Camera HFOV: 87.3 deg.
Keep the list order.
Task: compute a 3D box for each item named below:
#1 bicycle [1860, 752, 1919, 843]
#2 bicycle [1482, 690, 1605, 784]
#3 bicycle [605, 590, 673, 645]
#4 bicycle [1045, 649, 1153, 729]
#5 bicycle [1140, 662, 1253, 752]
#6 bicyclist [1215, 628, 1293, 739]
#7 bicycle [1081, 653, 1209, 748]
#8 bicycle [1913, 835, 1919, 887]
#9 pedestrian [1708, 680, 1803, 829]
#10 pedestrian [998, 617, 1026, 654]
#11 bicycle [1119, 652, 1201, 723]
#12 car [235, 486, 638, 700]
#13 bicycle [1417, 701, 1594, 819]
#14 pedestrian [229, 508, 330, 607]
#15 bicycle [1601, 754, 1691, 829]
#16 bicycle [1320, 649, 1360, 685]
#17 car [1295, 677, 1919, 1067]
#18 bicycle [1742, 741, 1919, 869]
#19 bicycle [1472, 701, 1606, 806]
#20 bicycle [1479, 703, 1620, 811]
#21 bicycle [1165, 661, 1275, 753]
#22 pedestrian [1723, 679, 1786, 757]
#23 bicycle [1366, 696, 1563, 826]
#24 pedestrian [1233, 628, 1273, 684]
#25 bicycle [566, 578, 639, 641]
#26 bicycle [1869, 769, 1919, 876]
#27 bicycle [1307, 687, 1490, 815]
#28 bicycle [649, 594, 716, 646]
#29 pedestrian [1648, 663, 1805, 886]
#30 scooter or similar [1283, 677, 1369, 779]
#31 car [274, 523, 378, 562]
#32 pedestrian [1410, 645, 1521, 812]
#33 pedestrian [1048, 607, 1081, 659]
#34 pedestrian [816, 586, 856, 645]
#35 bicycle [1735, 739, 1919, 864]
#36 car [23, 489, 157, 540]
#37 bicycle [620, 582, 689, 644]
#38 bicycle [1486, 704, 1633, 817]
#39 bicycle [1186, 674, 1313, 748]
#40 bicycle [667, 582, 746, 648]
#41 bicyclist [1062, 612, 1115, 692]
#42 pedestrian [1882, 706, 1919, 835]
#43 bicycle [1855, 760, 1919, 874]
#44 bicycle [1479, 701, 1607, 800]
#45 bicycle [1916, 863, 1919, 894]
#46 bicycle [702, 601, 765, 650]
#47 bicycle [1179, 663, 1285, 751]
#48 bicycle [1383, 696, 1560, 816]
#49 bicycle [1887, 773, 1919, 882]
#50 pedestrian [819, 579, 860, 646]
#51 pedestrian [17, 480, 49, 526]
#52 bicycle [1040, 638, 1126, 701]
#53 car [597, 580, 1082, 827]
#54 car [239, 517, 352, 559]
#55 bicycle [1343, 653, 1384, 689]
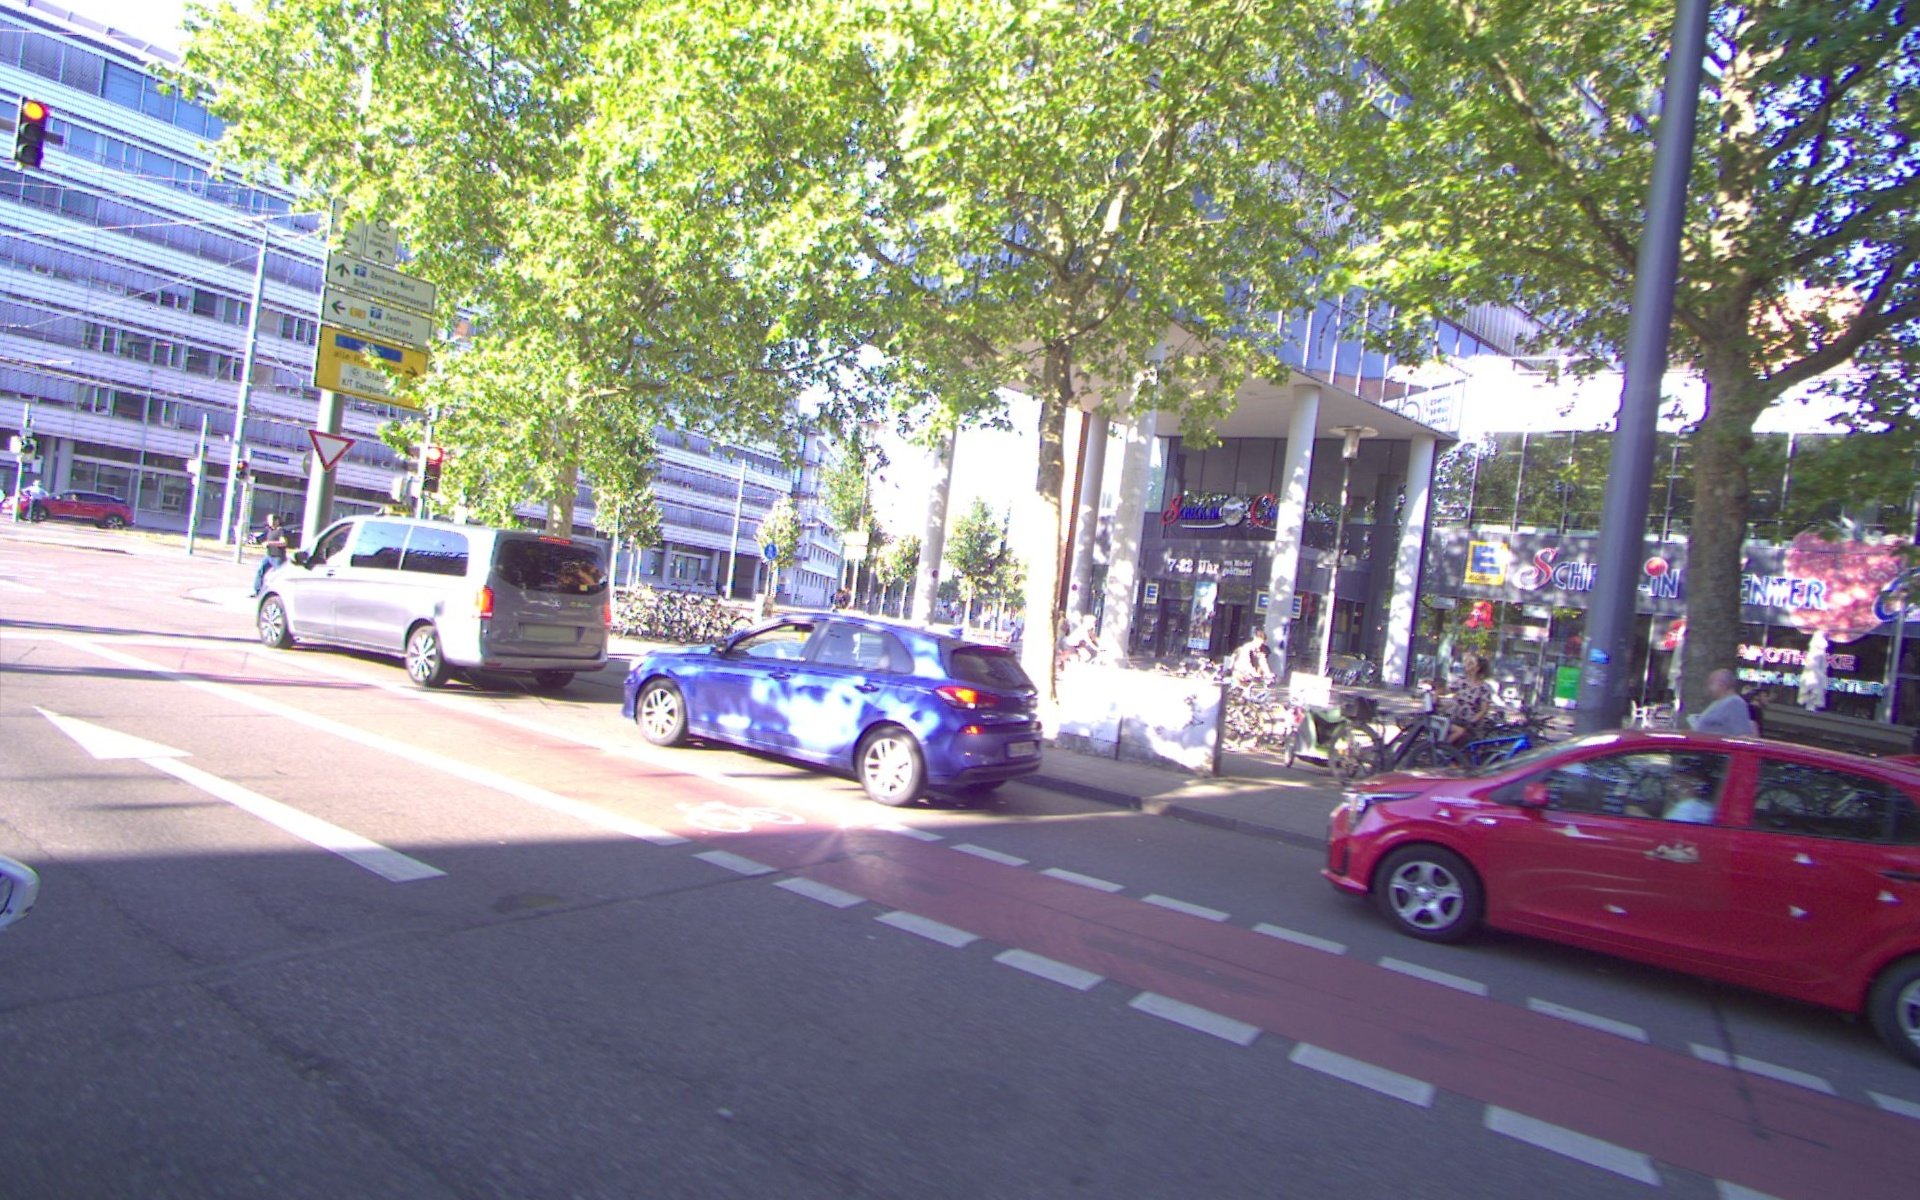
[{"bbox_3d":[14.072,2.920,14.307,1.743,1.174,0.576,7,1,38],"label":"bicycle"},{"bbox_3d":[8.847,2.064,15.300,1.449,1.174,0.421,7,1,23],"label":"bicycle"},{"bbox_3d":[-6.835,0.371,21.407,1.451,0.991,0.421,7,1,30],"label":"bicycle"},{"bbox_3d":[2.230,1.412,16.175,1.545,1.038,0.461,7,1,28],"label":"bicycle"},{"bbox_3d":[3.493,1.567,14.885,1.451,1.095,0.421,7,1,30],"label":"bicycle"},{"bbox_3d":[5.133,1.447,17.580,0.745,1.790,0.845,6,1,-31],"label":"bicyclist"},{"bbox_3d":[2.578,1.390,14.098,1.548,1.070,0.627,7,1,37],"label":"bicycle"},{"bbox_3d":[10.203,2.400,9.441,1.627,1.044,0.596,7,1,31],"label":"bicycle"},{"bbox_3d":[10.379,1.992,13.162,0.759,1.779,0.817,7,1,36],"label":"pedestrian"},{"bbox_3d":[2.222,1.530,42.772,0.763,1.460,0.705,7,1,34],"label":"pedestrian"},{"bbox_3d":[3.479,1.512,17.552,0.393,1.038,1.305,6,1,-43],"label":"bicycle"},{"bbox_3d":[-6.692,-0.134,12.701,5.051,1.988,1.998,7,-2,31],"label":"car"},{"bbox_3d":[6.846,1.989,12.729,0.602,1.130,1.811,6,0,-31],"label":"bicycle"},{"bbox_3d":[-14.218,-0.878,21.031,1.023,1.843,1.212,7,-2,26],"label":"pedestrian"},{"bbox_3d":[8.044,2.244,11.789,1.101,0.770,0.396,7,0,-32],"label":"bicycle"},{"bbox_3d":[13.582,2.409,35.929,0.708,1.142,1.912,7,0,38],"label":"bicycle"},{"bbox_3d":[4.131,1.481,6.166,3.560,1.481,1.562,7,-1,31],"label":"car"},{"bbox_3d":[10.588,2.438,12.143,1.667,1.174,0.478,7,1,35],"label":"bicycle"},{"bbox_3d":[7.990,2.101,13.938,1.449,1.174,0.421,7,1,23],"label":"bicycle"},{"bbox_3d":[7.848,2.072,13.452,1.449,1.174,0.421,7,1,23],"label":"bicycle"},{"bbox_3d":[4.000,1.627,15.521,1.451,1.174,0.421,7,1,30],"label":"bicycle"},{"bbox_3d":[20.645,3.054,26.144,0.990,1.867,0.844,7,1,-34],"label":"pedestrian"},{"bbox_3d":[5.809,1.833,11.718,0.591,1.130,1.933,6,0,-31],"label":"bicycle"},{"bbox_3d":[9.234,1.766,31.708,0.851,1.661,0.967,7,1,28],"label":"pedestrian"},{"bbox_3d":[-7.404,0.190,20.842,1.451,1.107,0.489,7,1,30],"label":"bicycle"},{"bbox_3d":[10.807,2.479,10.615,1.627,1.044,0.502,7,1,31],"label":"bicycle"},{"bbox_3d":[4.986,1.694,11.558,0.591,1.130,1.811,6,0,-31],"label":"bicycle"},{"bbox_3d":[-6.228,0.446,22.568,1.451,0.995,0.451,7,1,30],"label":"bicycle"},{"bbox_3d":[6.901,1.523,9.117,0.794,1.808,0.873,7,1,27],"label":"pedestrian"},{"bbox_3d":[4.758,1.662,13.161,0.899,1.154,1.259,6,-4,17],"label":"scooter or similar"},{"bbox_3d":[-33.635,-3.033,53.435,1.769,1.409,4.239,7,0,38],"label":"car"},{"bbox_3d":[5.867,1.488,11.690,0.800,1.808,0.652,6,1,-33],"label":"pedestrian"},{"bbox_3d":[3.578,1.138,34.434,0.694,1.661,0.775,7,1,27],"label":"pedestrian"},{"bbox_3d":[-3.823,0.493,31.117,0.851,1.701,0.849,7,-1,5],"label":"pedestrian"},{"bbox_3d":[10.842,2.480,12.583,1.667,1.174,0.478,7,1,35],"label":"bicycle"},{"bbox_3d":[-39.332,-3.847,45.573,1.767,1.621,4.242,7,0,36],"label":"car"},{"bbox_3d":[-6.666,0.275,21.917,1.451,1.159,0.450,7,1,30],"label":"bicycle"},{"bbox_3d":[7.702,2.043,12.983,1.449,1.174,0.479,7,1,23],"label":"bicycle"},{"bbox_3d":[5.033,1.921,17.662,0.661,0.945,2.166,7,0,-31],"label":"bicycle"},{"bbox_3d":[-5.876,0.339,23.282,1.855,1.303,0.450,7,1,30],"label":"bicycle"},{"bbox_3d":[2.830,1.149,22.231,0.809,1.636,0.562,7,1,37],"label":"bicyclist"},{"bbox_3d":[14.030,2.477,14.367,1.004,1.779,0.786,7,1,36],"label":"pedestrian"},{"bbox_3d":[11.116,2.509,11.134,1.627,1.151,0.502,7,1,31],"label":"bicycle"},{"bbox_3d":[8.481,2.168,14.680,1.449,1.174,0.421,7,1,23],"label":"bicycle"},{"bbox_3d":[9.861,2.235,8.885,1.845,1.280,0.596,7,1,31],"label":"bicycle"},{"bbox_3d":[-5.384,0.603,23.867,1.451,0.995,0.451,7,1,30],"label":"bicycle"},{"bbox_3d":[4.351,1.701,16.115,1.452,1.174,0.421,7,1,32],"label":"bicycle"},{"bbox_3d":[6.266,1.892,12.428,0.591,1.130,1.811,6,0,-31],"label":"bicycle"},{"bbox_3d":[10.491,2.427,10.049,1.627,1.044,0.596,7,1,31],"label":"bicycle"},{"bbox_3d":[-3.578,0.385,29.847,0.851,1.841,0.849,7,-1,3],"label":"pedestrian"},{"bbox_3d":[-36.992,-3.857,40.146,0.549,1.701,0.720,7,-1,38],"label":"pedestrian"},{"bbox_3d":[2.711,1.527,22.300,1.751,1.140,0.565,7,1,38],"label":"bicycle"},{"bbox_3d":[-1.191,0.822,9.387,4.145,1.482,1.768,7,0,30],"label":"car"},{"bbox_3d":[-32.868,-3.045,49.880,1.767,1.409,4.242,7,0,35],"label":"car"},{"bbox_3d":[14.232,2.507,35.439,0.708,1.142,1.912,7,0,38],"label":"bicycle"}]
